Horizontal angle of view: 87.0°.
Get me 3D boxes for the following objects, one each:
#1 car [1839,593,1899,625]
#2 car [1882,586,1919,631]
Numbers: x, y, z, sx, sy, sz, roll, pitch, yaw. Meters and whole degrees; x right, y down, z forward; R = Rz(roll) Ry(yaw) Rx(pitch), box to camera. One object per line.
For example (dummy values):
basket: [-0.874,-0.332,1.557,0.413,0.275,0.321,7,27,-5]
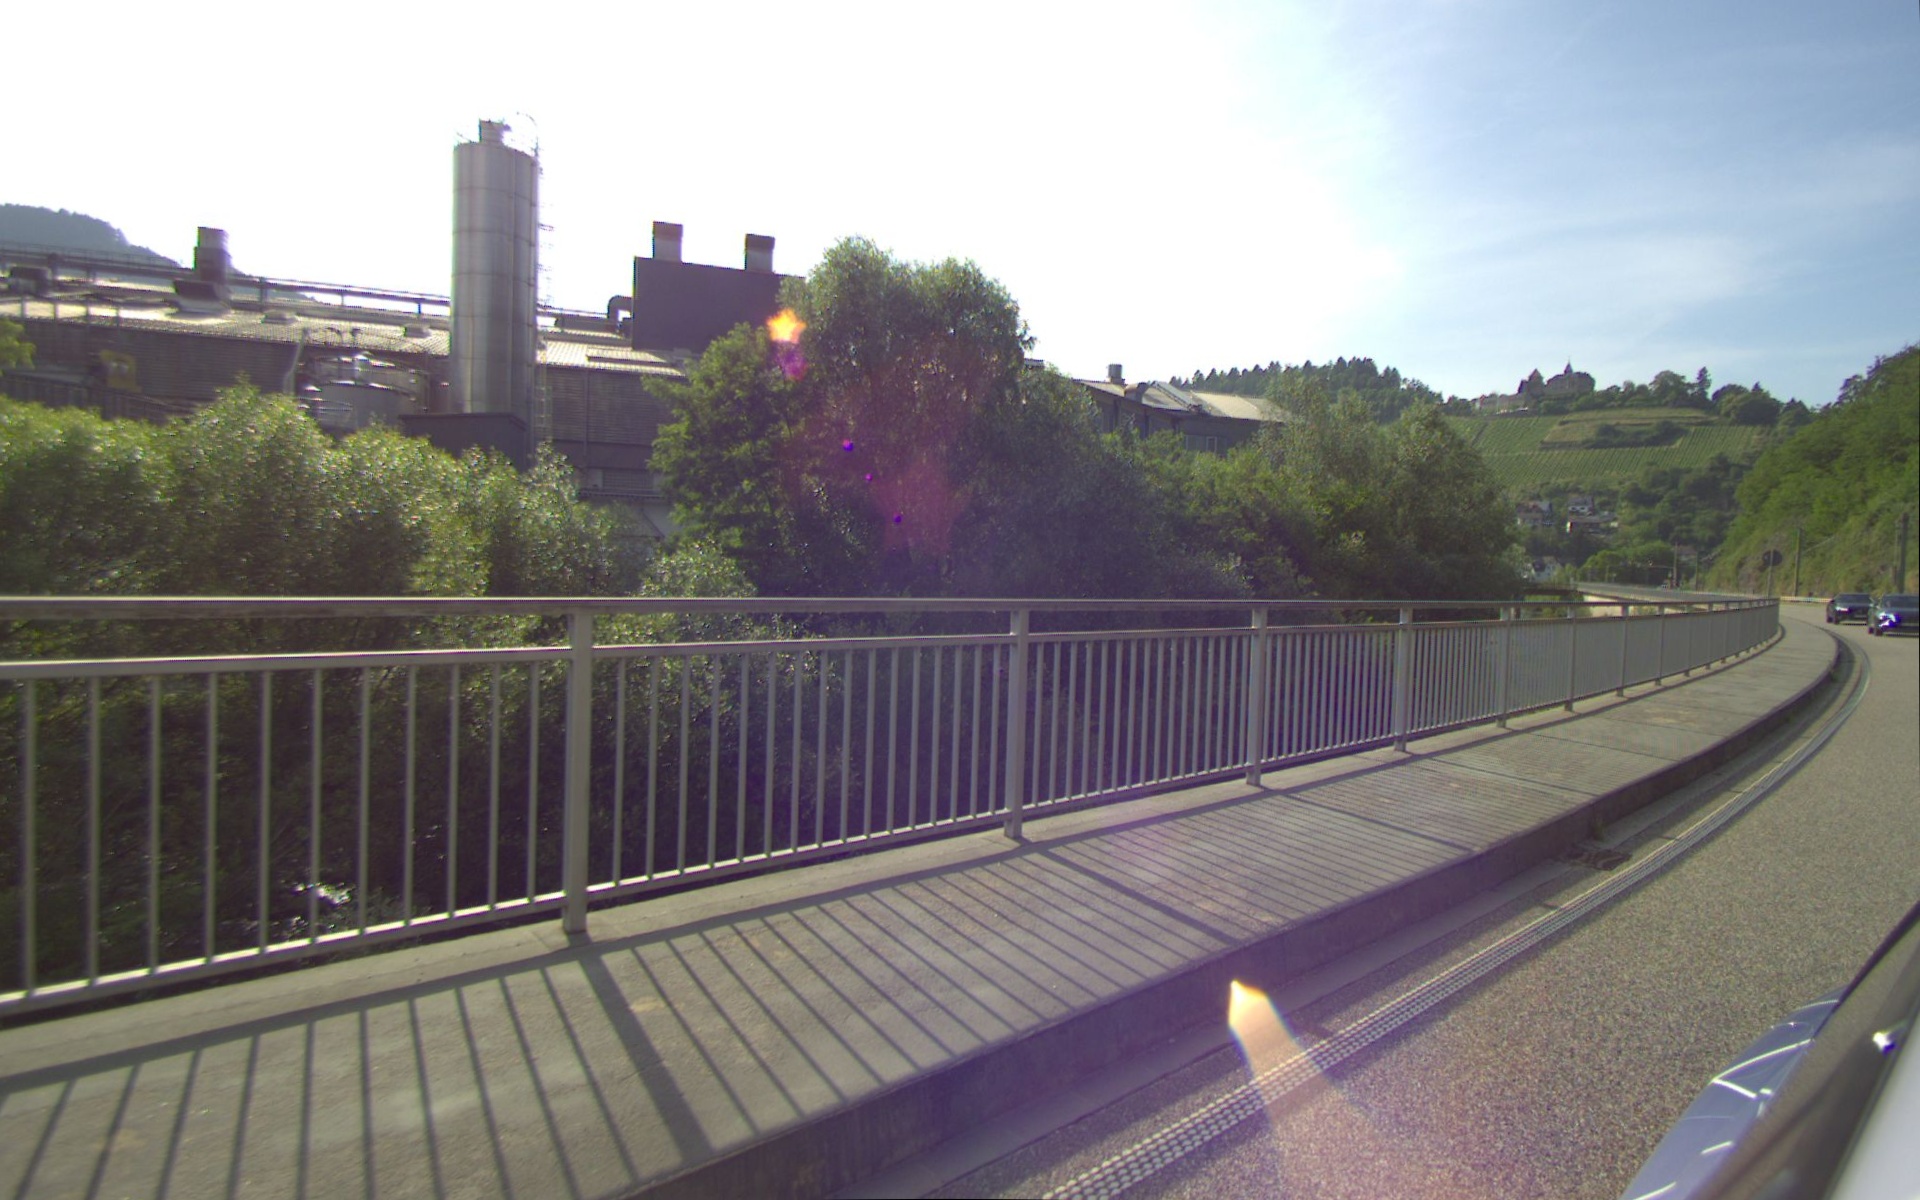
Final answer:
car: [46.963,0.457,52.363,1.991,1.409,3.944,6,4,39]
car: [36.944,0.296,39.001,1.856,1.605,3.944,2,3,39]
